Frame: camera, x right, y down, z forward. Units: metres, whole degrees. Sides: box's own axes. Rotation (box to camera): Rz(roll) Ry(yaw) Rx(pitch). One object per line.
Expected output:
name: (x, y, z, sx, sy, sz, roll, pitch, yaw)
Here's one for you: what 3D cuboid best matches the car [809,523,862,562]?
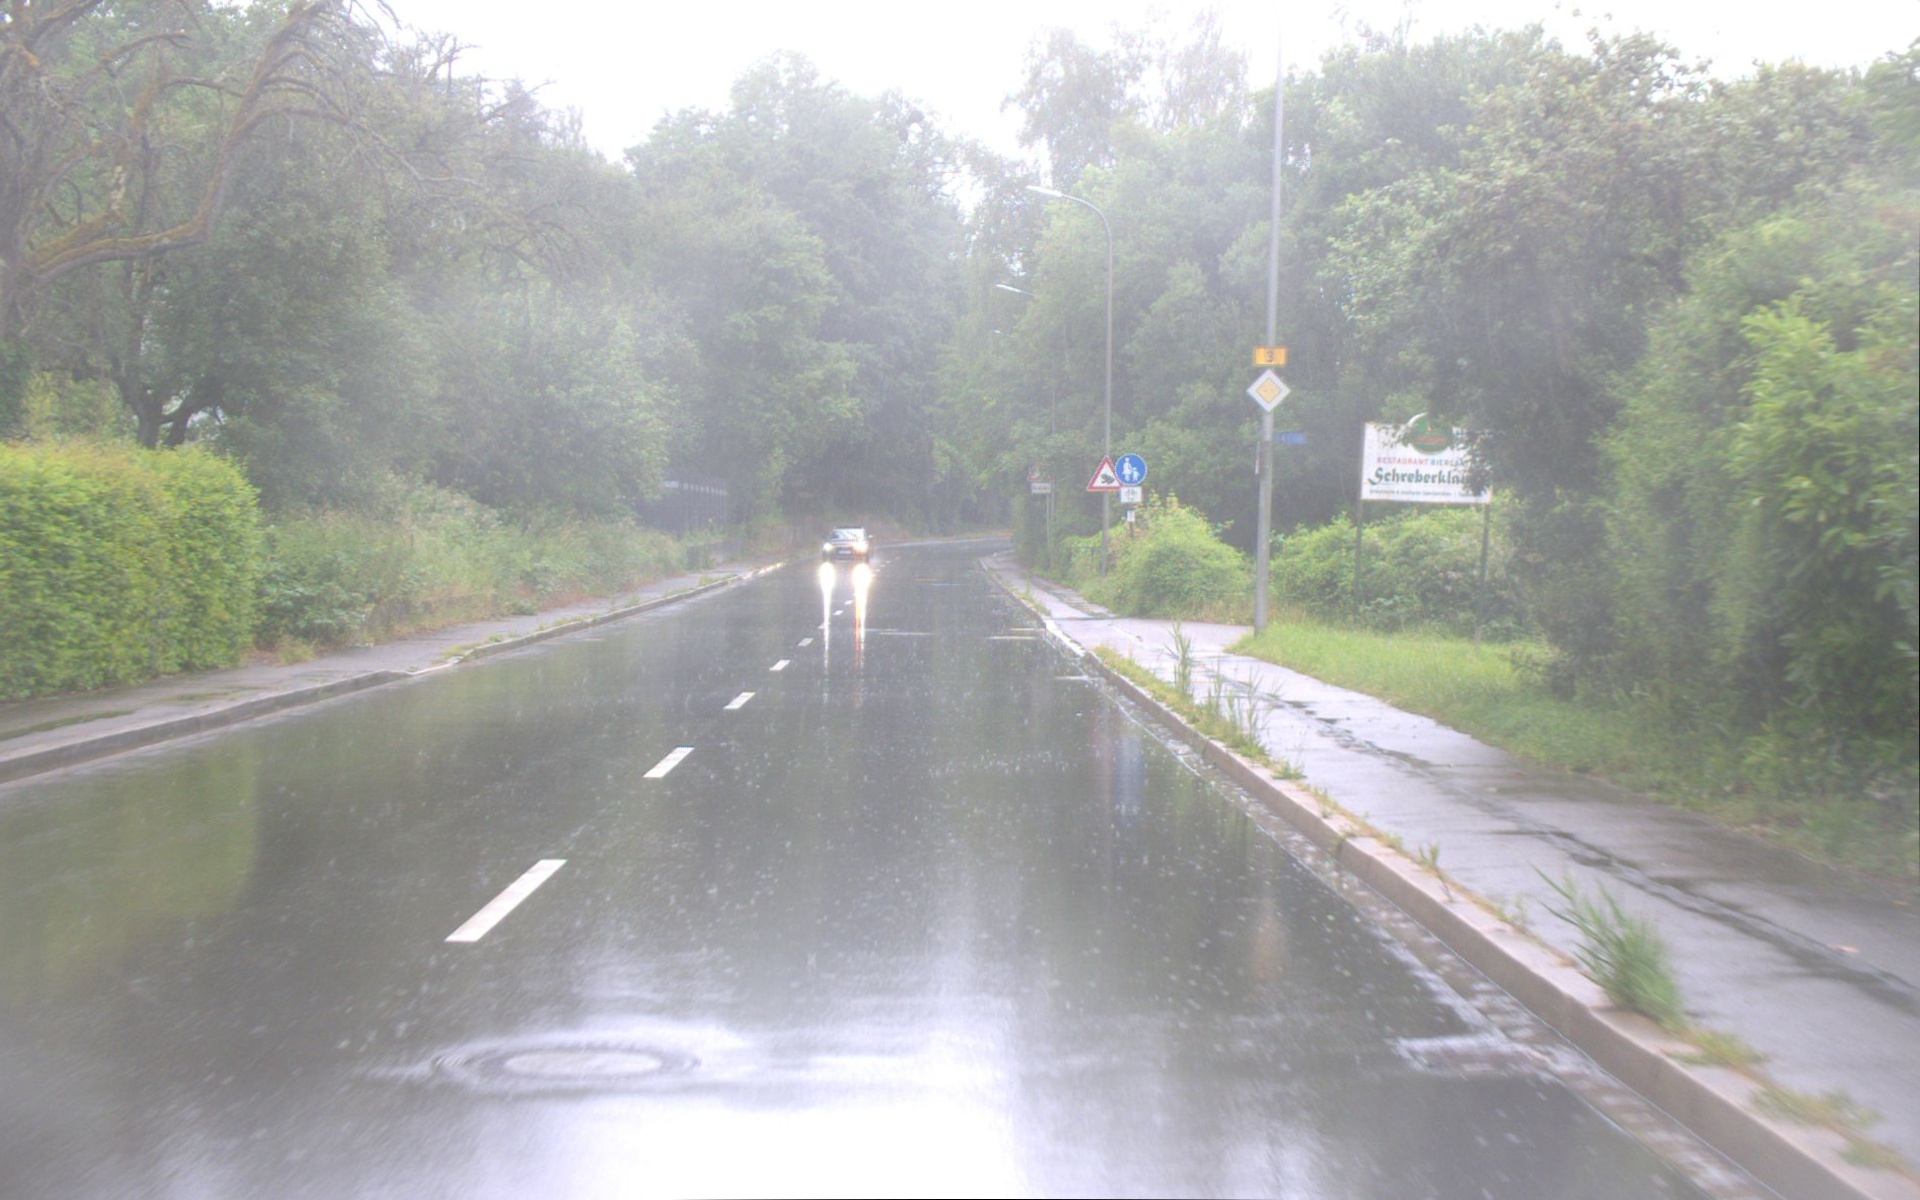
car: (-5.000, -2.340, 138.909, 1.993, 1.449, 4.428, 1, 2, 0)
